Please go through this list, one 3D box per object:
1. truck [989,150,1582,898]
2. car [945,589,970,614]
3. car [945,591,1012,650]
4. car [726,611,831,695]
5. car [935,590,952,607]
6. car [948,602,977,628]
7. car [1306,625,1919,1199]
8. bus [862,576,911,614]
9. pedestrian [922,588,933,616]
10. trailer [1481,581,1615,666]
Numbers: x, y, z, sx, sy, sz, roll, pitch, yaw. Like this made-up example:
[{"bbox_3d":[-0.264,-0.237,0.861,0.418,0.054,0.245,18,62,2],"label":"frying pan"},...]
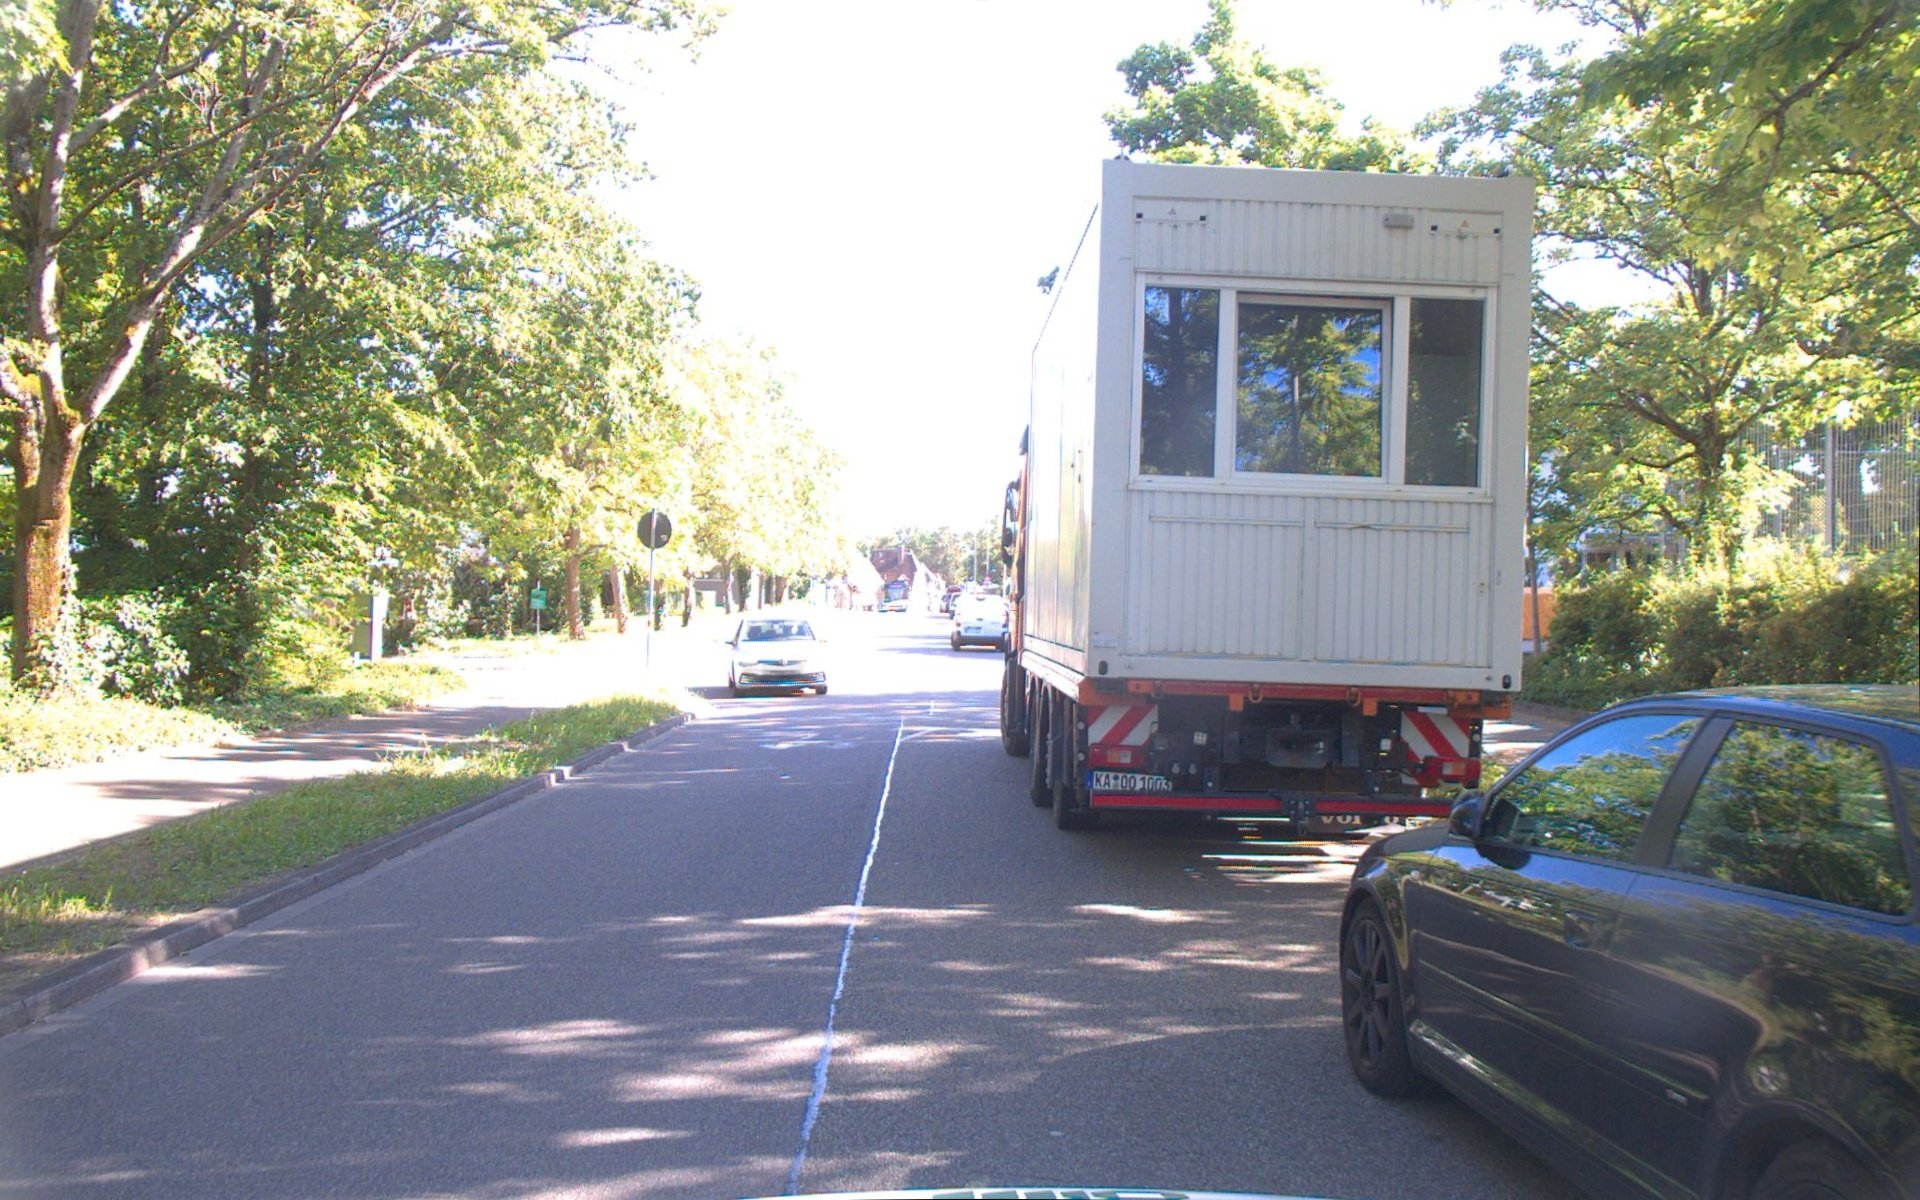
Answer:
[{"bbox_3d":[1.909,-0.417,14.340,2.717,4.066,10.344,2,0,-2],"label":"truck"},{"bbox_3d":[-0.183,0.102,125.440,1.745,1.840,3.998,0,0,-2],"label":"car"},{"bbox_3d":[0.588,0.667,55.656,1.908,1.875,3.996,1,0,-4],"label":"car"},{"bbox_3d":[-3.527,0.953,31.595,1.772,1.445,3.951,-1,0,-9],"label":"car"},{"bbox_3d":[-1.812,-0.122,178.201,1.745,1.840,3.998,0,0,-2],"label":"car"},{"bbox_3d":[0.158,0.970,107.765,1.745,1.681,3.998,0,0,-2],"label":"car"},{"bbox_3d":[2.224,0.836,4.143,1.607,1.445,3.997,1,0,-4],"label":"car"},{"bbox_3d":[-6.934,-0.445,156.827,3.981,3.408,9.801,-1,0,1],"label":"bus"},{"bbox_3d":[-2.544,0.136,130.671,0.737,2.150,0.799,2,-1,2],"label":"pedestrian"},{"bbox_3d":[15.160,0.589,42.725,2.884,2.153,1.609,0,0,-3],"label":"trailer"}]
